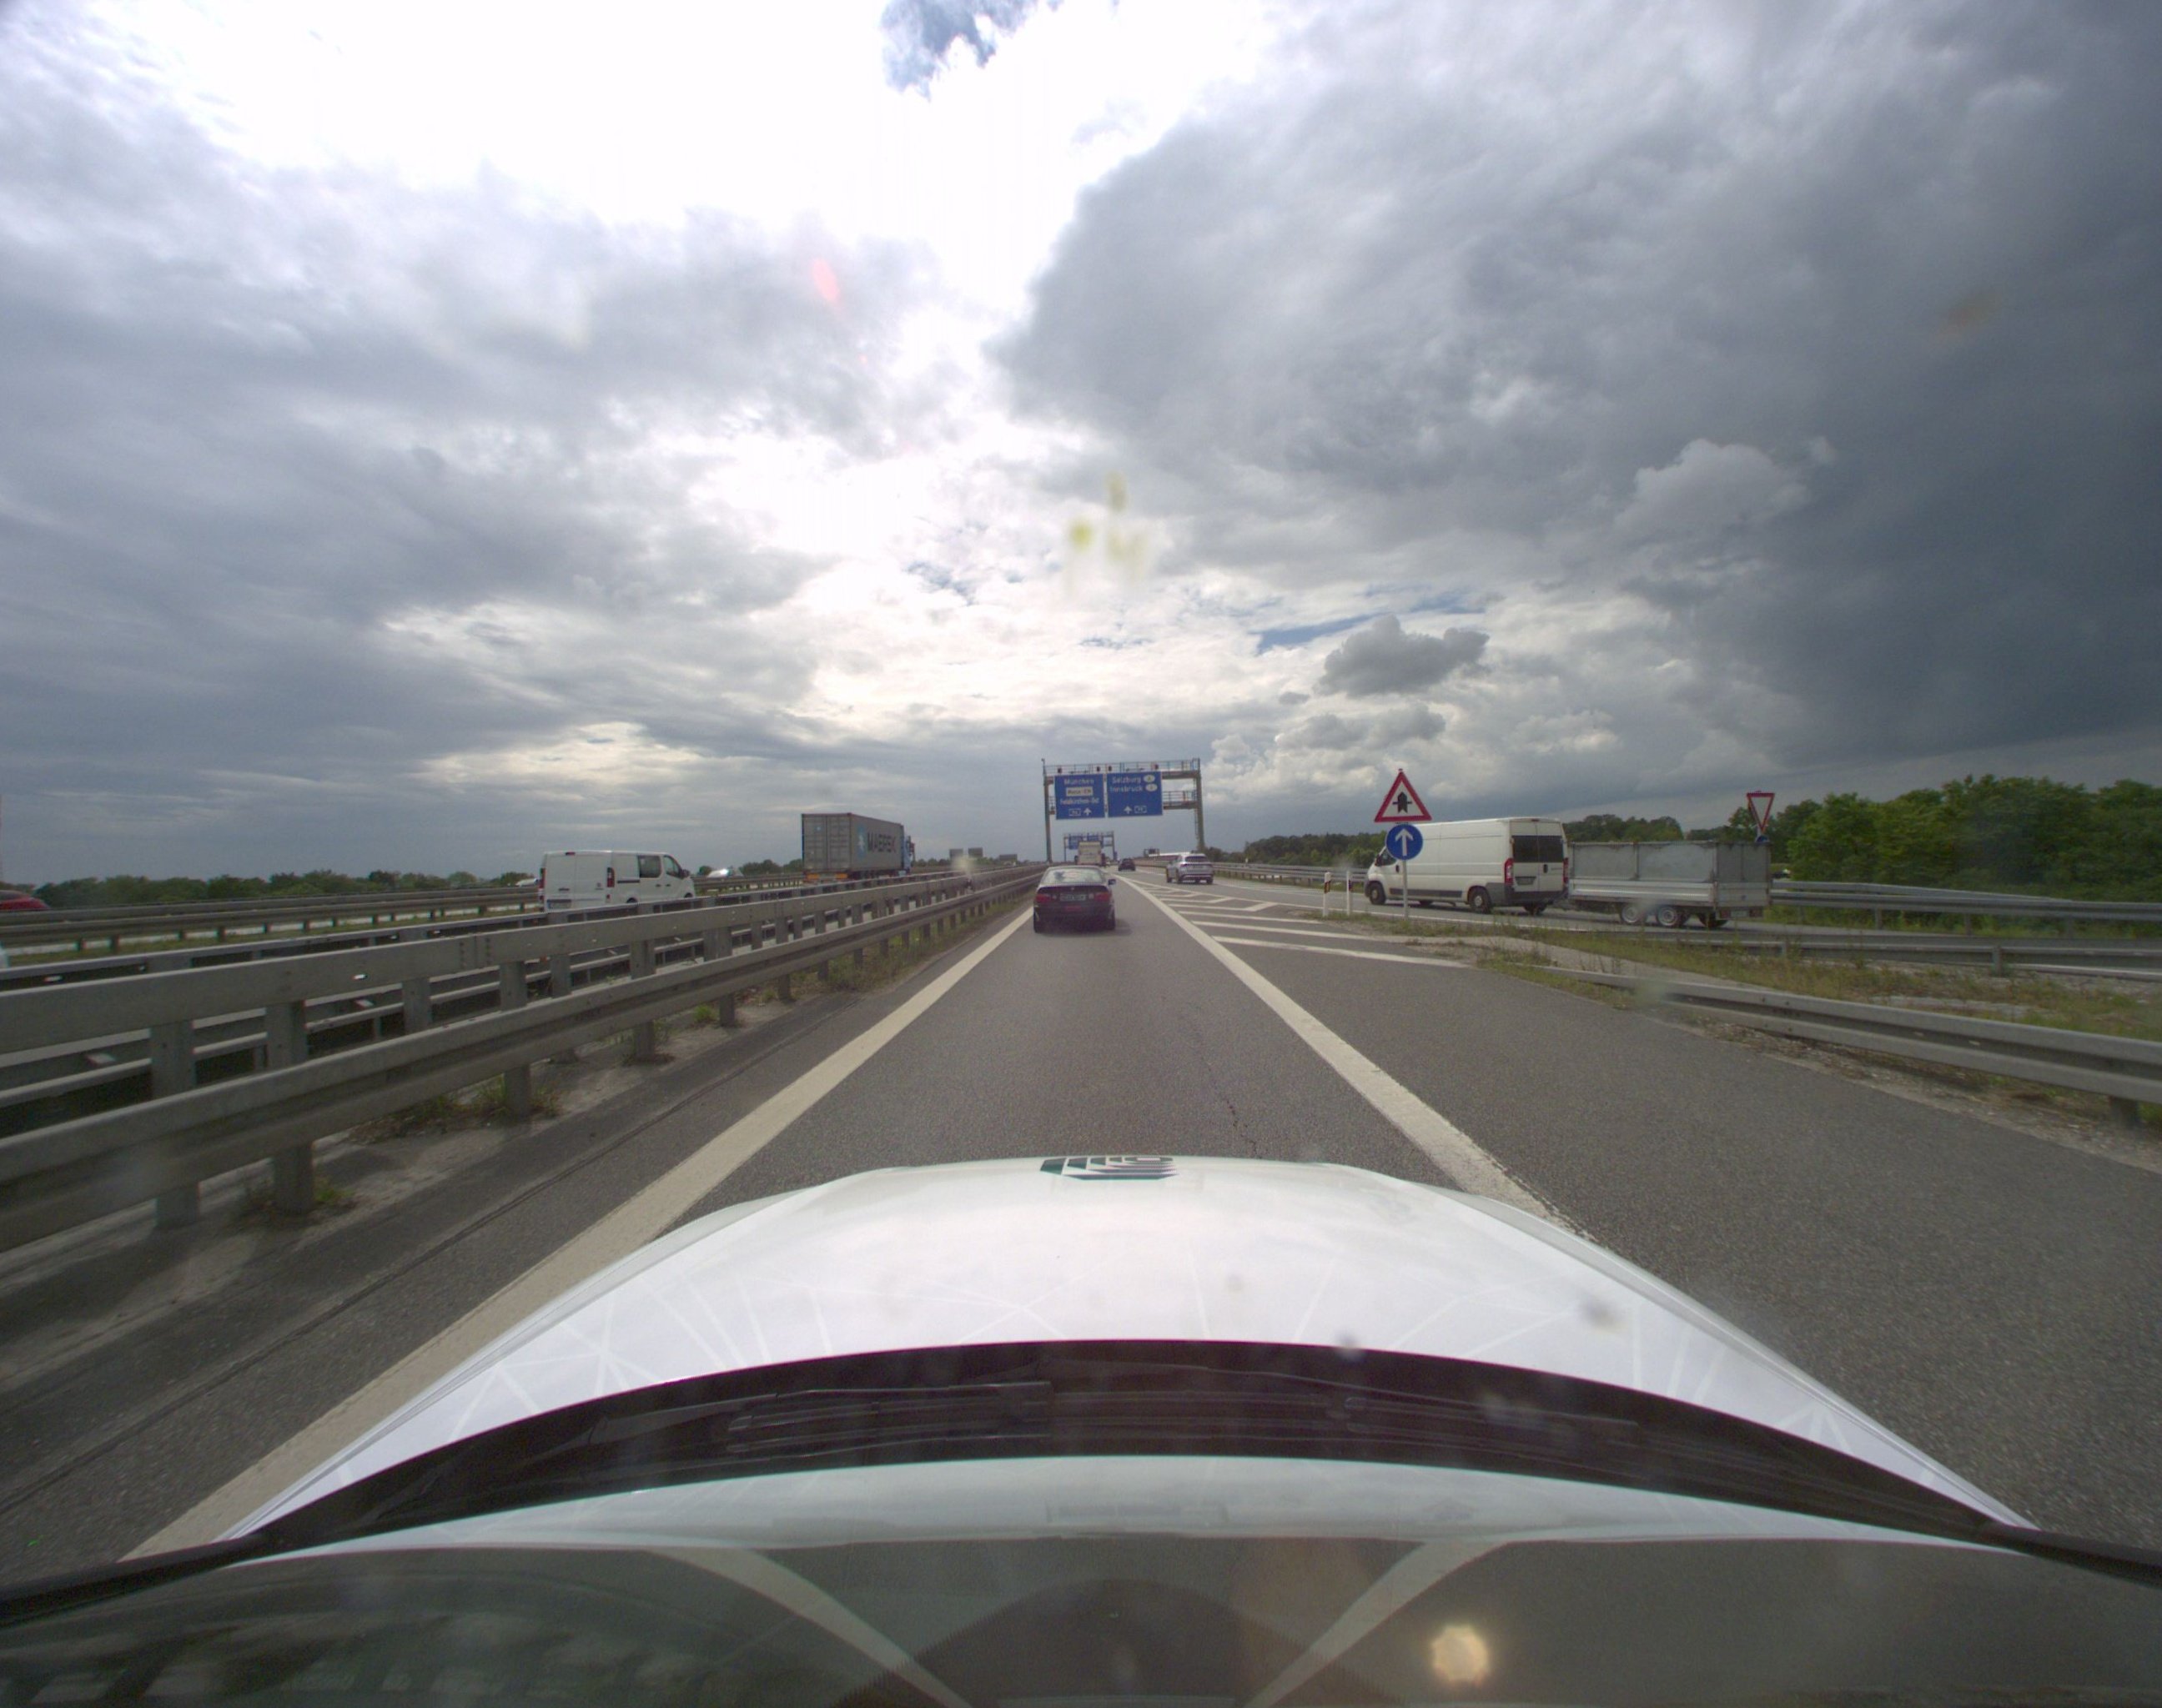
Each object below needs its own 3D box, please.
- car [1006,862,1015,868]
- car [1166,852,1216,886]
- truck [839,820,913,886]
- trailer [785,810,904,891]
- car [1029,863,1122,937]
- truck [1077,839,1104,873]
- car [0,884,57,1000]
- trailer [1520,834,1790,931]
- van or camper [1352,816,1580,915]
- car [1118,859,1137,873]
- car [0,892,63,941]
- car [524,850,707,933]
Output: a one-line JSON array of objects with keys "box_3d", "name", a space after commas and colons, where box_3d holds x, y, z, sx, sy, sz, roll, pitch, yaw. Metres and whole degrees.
[{"box_3d": [-17.266, 2.677, 199.544, 1.887, 1.597, 4.414, -1, 0, -2], "name": "car"}, {"box_3d": [5.890, 0.765, 44.138, 1.931, 1.684, 4.205, -2, 1, -2], "name": "car"}, {"box_3d": [-13.055, -0.066, 52.561, 3.238, 3.911, 6.604, -1, 0, -2], "name": "truck"}, {"box_3d": [-12.872, -0.123, 45.822, 3.227, 3.924, 12.374, -1, 0, -1], "name": "trailer"}, {"box_3d": [-0.078, 0.905, 17.788, 1.776, 1.378, 4.137, -1, 0, 1], "name": "car"}, {"box_3d": [0.923, 0.220, 79.092, 2.396, 3.090, 6.371, -1, 0, 1], "name": "truck"}, {"box_3d": [-14.829, 1.176, 9.229, 1.676, 1.484, 3.771, -3, -1, -2], "name": "car"}, {"box_3d": [12.299, 0.559, 17.856, 2.001, 1.841, 4.474, -1, -1, -22], "name": "trailer"}, {"box_3d": [10.408, 0.299, 22.734, 2.231, 2.361, 5.900, -1, -1, -20], "name": "van or camper"}, {"box_3d": [5.056, 1.293, 89.289, 1.986, 1.552, 4.001, -1, 0, 1], "name": "car"}, {"box_3d": [-43.911, 2.525, 32.331, 1.988, 1.849, 3.997, -1, 0, -2], "name": "car"}, {"box_3d": [-12.377, 0.927, 22.164, 1.993, 1.938, 5.131, -2, 0, 0], "name": "car"}]
